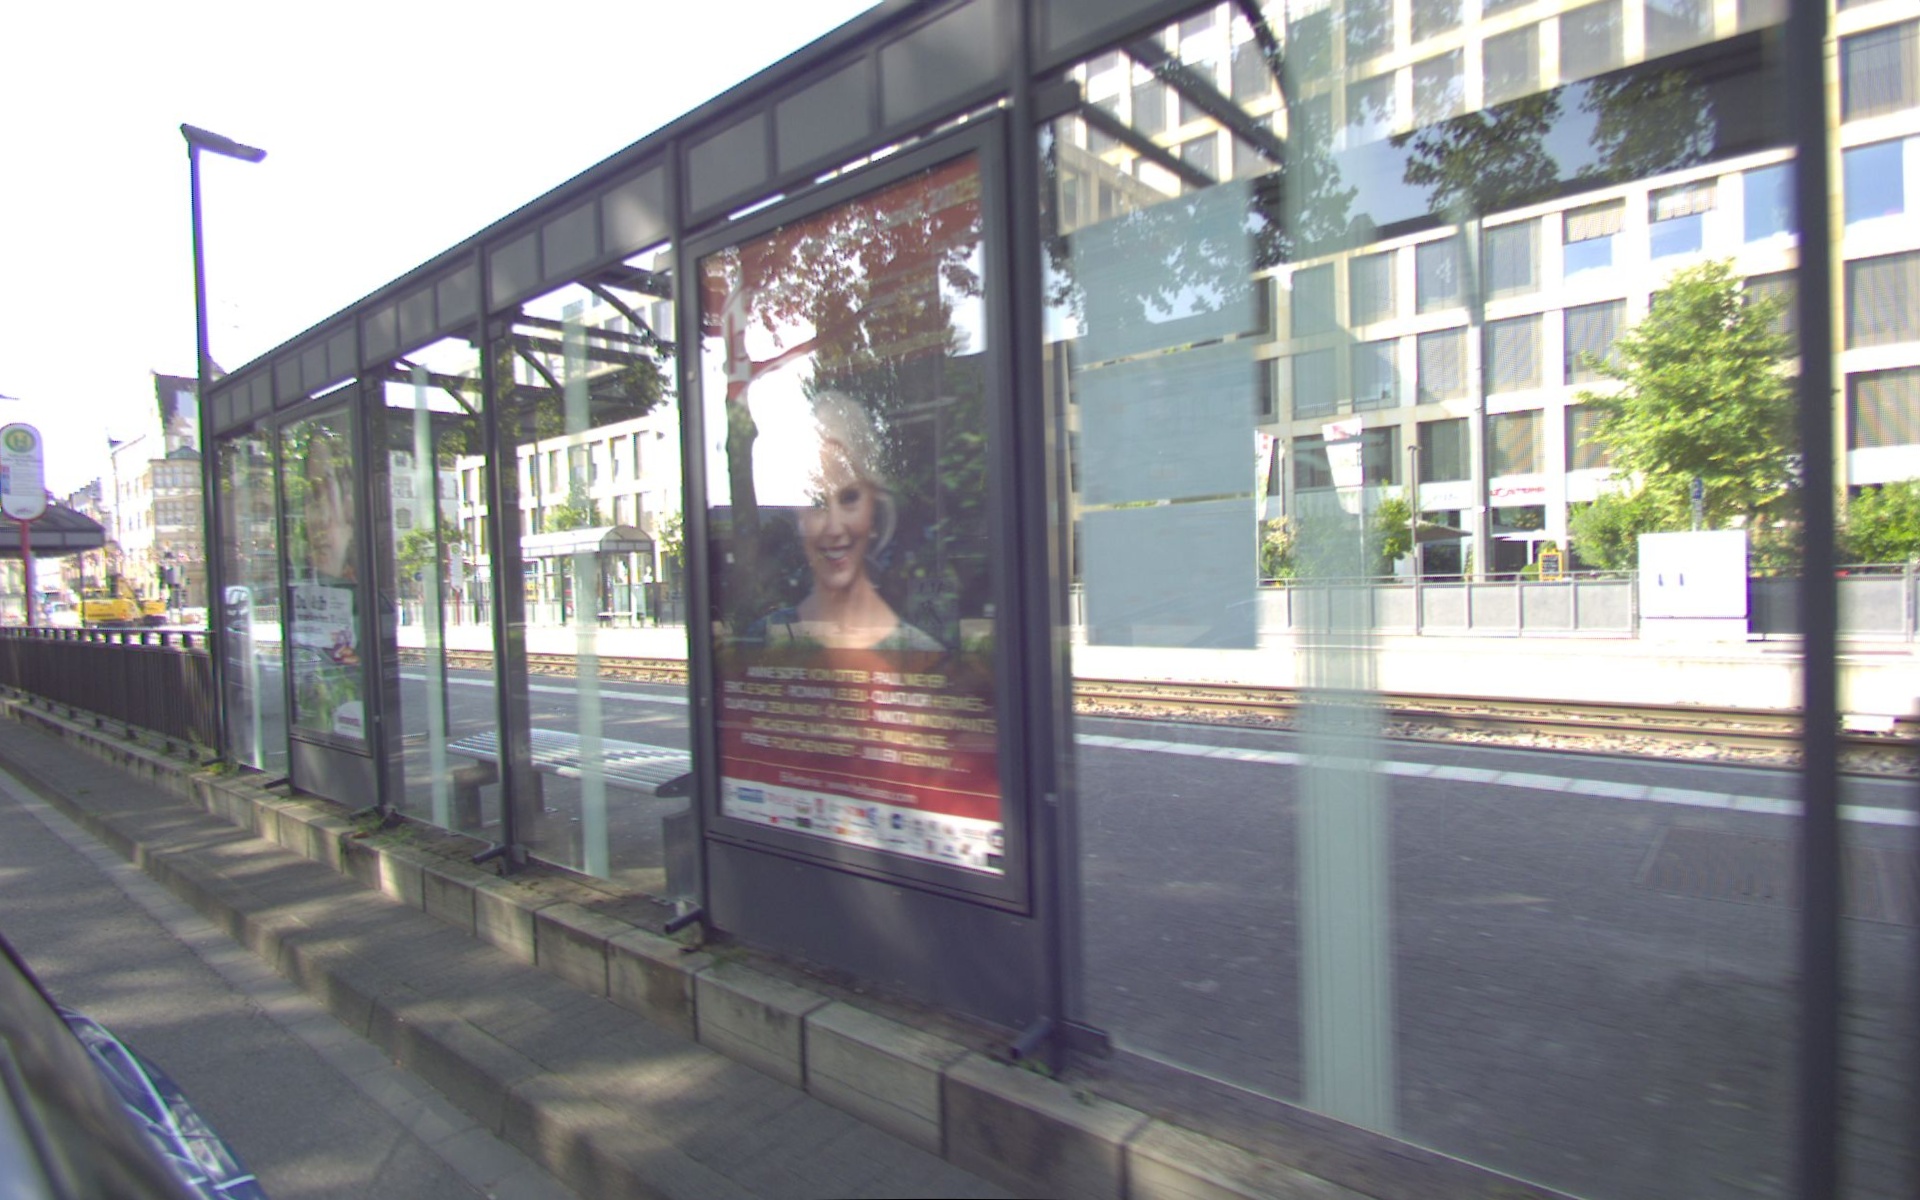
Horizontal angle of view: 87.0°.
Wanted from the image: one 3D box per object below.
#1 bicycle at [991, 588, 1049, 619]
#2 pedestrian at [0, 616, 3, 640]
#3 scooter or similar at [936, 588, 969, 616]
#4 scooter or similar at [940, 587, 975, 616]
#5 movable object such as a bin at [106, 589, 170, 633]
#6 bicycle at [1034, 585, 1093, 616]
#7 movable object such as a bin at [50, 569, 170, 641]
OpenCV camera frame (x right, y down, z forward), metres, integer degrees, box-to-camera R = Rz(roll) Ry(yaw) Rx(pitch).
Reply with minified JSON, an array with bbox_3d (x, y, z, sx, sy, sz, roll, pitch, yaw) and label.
[{"bbox_3d":[2.180,0.118,36.267,0.821,0.993,2.409,-1,1,39],"label":"bicycle"},{"bbox_3d":[-53.365,1.539,55.328,1.293,1.316,0.801,-2,1,-25],"label":"pedestrian"},{"bbox_3d":[-0.275,0.057,37.617,0.371,0.993,1.486,-1,1,39],"label":"scooter or similar"},{"bbox_3d":[-0.067,0.056,37.071,0.395,0.993,1.507,-1,1,39],"label":"scooter or similar"},{"bbox_3d":[-67.183,0.878,82.646,8.344,3.355,2.816,-1,1,42],"label":"movable object such as a bin"},{"bbox_3d":[3.604,0.019,34.942,0.821,0.993,2.409,-1,1,39],"label":"bicycle"},{"bbox_3d":[-52.692,0.290,63.080,3.454,4.043,9.071,-2,1,-26],"label":"movable object such as a bin"}]
